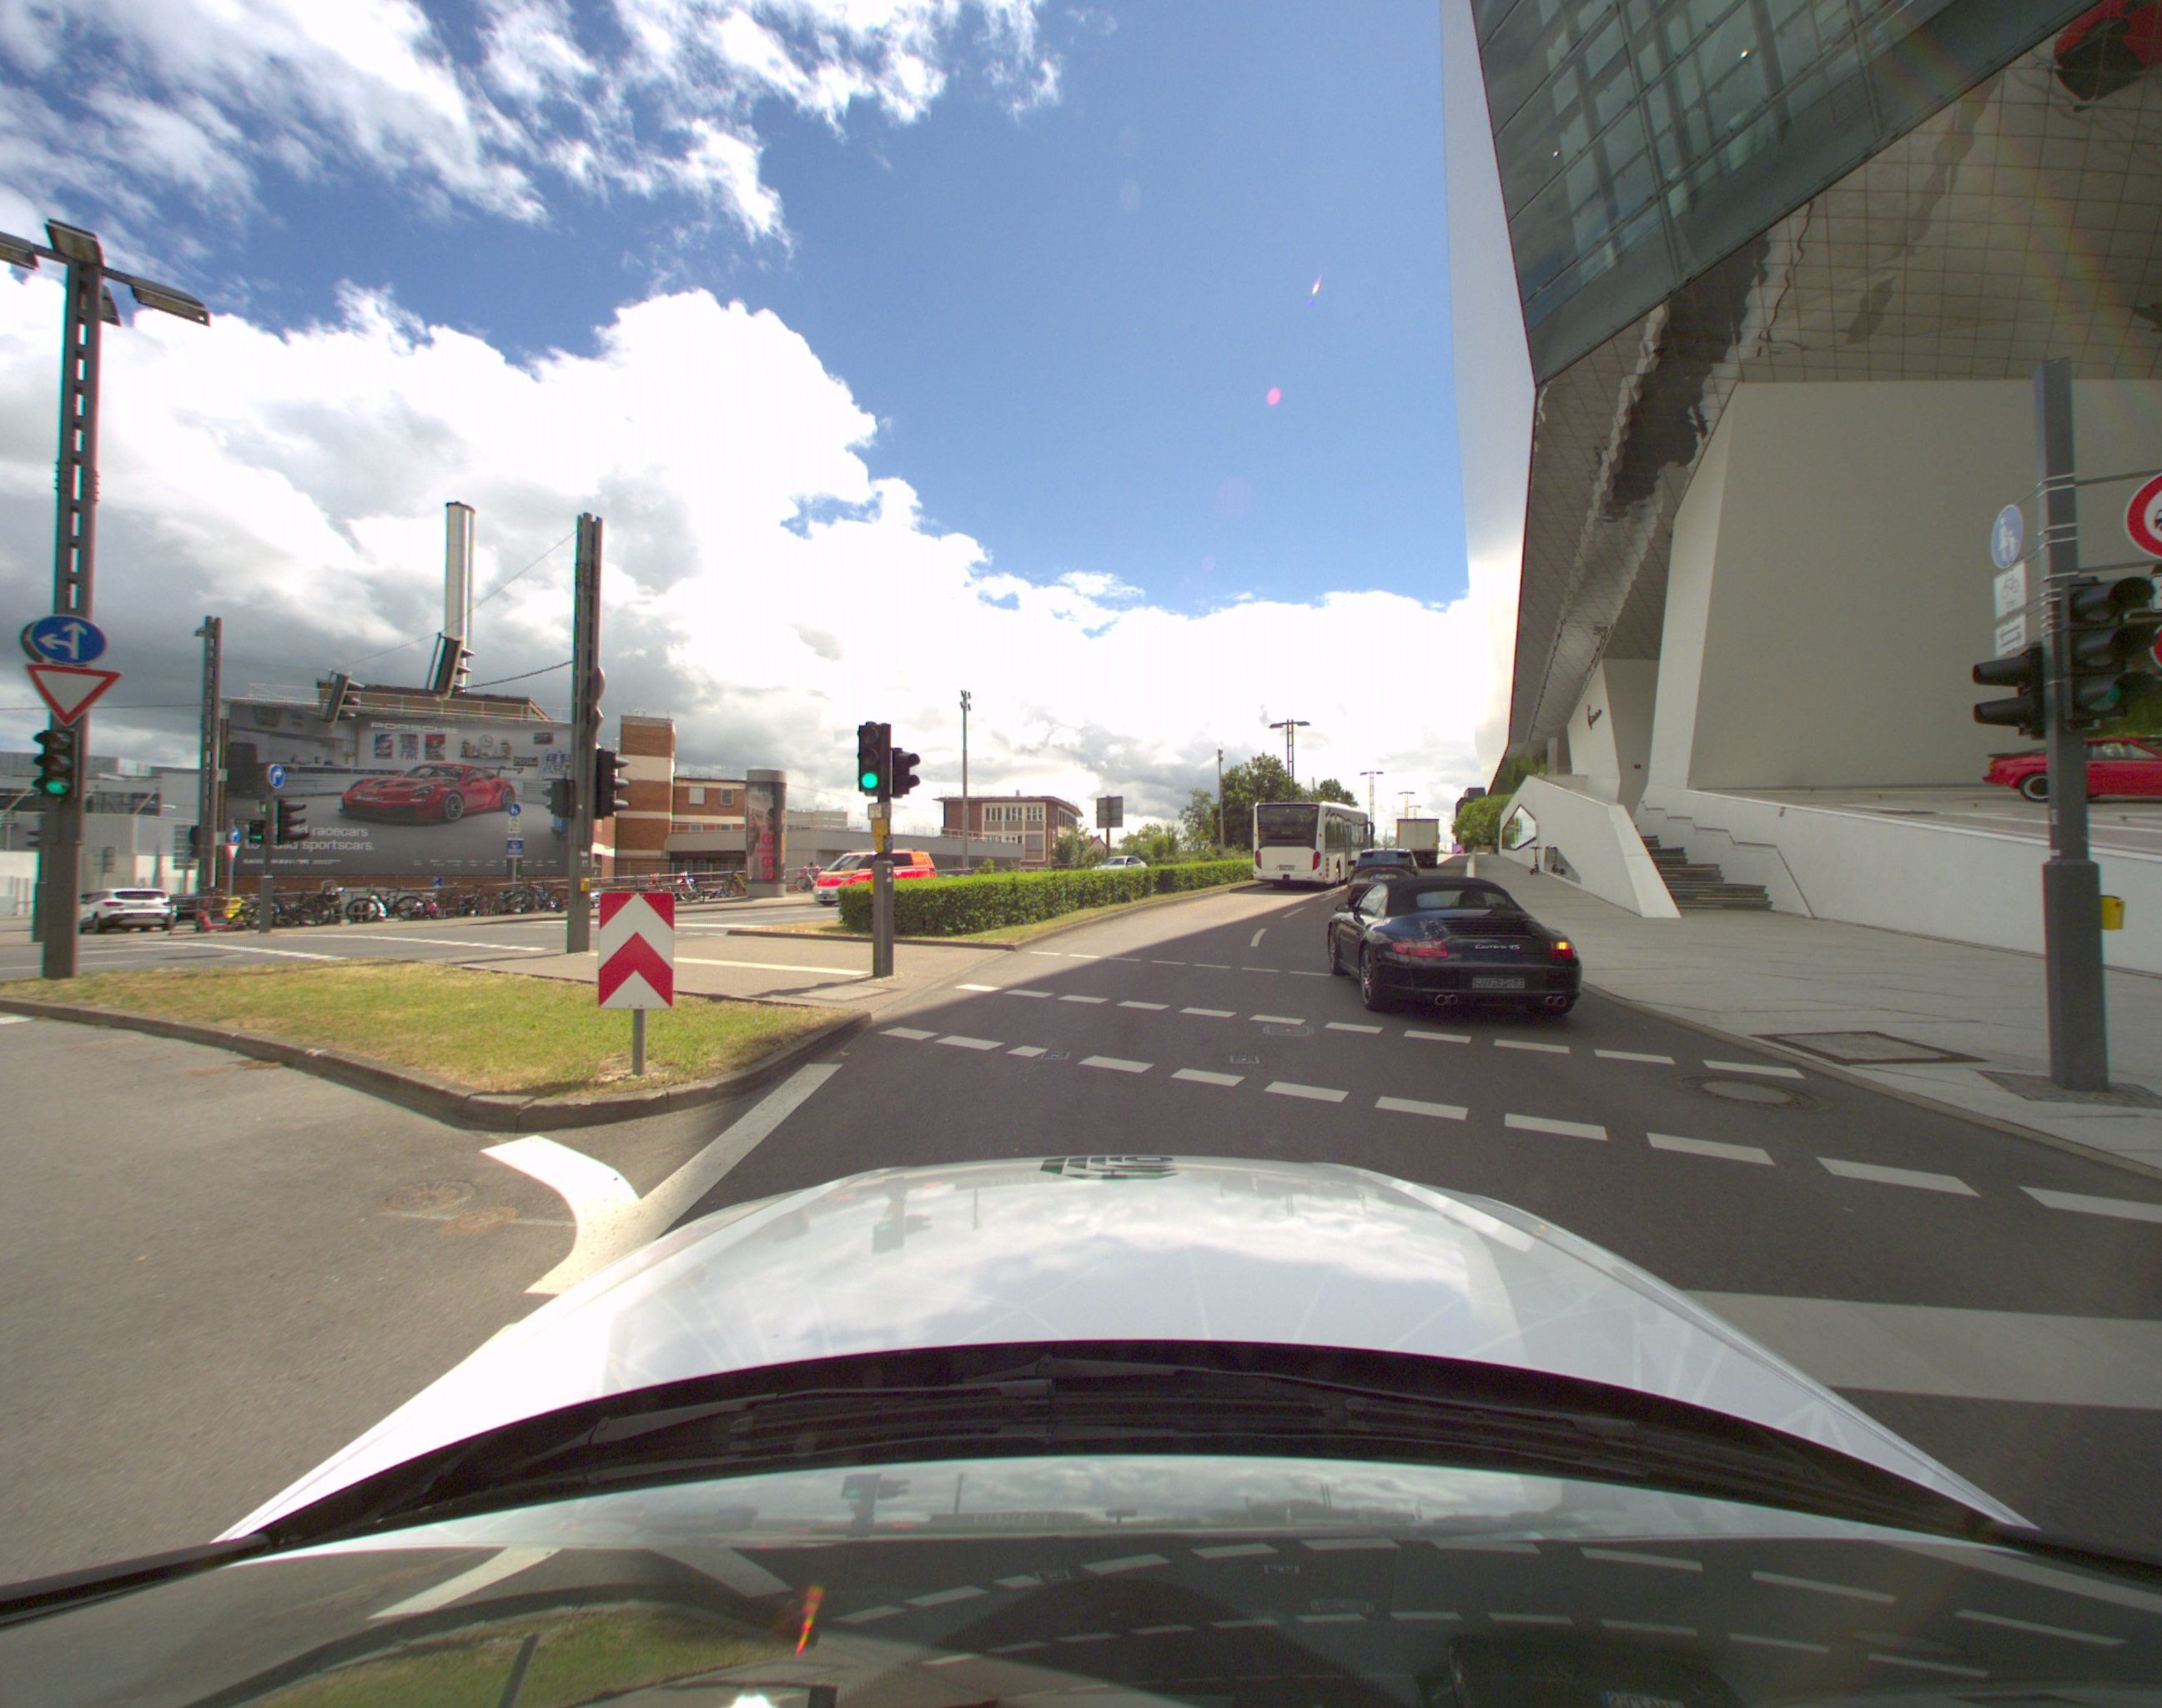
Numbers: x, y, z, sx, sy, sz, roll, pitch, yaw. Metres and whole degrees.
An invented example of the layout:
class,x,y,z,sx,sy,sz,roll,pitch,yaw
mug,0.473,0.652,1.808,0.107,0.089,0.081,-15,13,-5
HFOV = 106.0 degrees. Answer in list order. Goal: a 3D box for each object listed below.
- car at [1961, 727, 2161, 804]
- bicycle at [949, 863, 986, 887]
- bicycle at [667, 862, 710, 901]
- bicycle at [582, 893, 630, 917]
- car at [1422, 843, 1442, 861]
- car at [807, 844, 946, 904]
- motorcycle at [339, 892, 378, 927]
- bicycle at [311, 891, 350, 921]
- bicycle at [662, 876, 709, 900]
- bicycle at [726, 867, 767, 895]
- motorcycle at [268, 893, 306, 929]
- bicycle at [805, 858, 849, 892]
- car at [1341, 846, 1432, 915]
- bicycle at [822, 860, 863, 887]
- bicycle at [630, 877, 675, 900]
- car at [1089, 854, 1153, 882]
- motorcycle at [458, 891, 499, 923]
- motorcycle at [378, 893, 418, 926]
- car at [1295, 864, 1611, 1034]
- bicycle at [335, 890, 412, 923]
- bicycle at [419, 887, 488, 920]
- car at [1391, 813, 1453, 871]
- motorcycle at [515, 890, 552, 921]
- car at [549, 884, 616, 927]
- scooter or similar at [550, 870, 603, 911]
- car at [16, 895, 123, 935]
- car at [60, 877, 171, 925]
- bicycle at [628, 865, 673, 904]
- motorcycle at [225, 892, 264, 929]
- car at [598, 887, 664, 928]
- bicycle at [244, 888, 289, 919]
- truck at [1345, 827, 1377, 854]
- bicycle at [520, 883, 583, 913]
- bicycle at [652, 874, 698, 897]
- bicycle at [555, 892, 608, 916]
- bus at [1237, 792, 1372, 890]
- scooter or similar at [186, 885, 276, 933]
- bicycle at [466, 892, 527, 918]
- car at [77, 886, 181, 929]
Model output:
class,x,y,z,sx,sy,sz,roll,pitch,yaw
car,20.518,-1.702,15.624,1.998,1.394,4.489,-3,6,-16
bicycle,-5.519,1.004,39.611,0.448,1.071,2.310,1,1,30
bicycle,-14.370,1.005,29.820,1.591,1.383,0.495,1,-2,26
bicycle,-17.824,1.911,30.606,0.487,0.866,1.618,1,-2,18
car,41.023,-0.185,95.239,1.977,1.904,4.020,1,-2,21
car,-7.322,0.692,29.638,1.974,1.983,4.867,-1,-1,33
motorcycle,-28.527,2.173,32.136,0.925,1.196,2.877,4,-3,-45
bicycle,-23.468,1.607,25.478,0.494,0.866,1.596,3,-2,-29
bicycle,-15.817,1.348,32.624,0.486,0.866,1.621,-2,0,39
bicycle,-13.141,1.050,32.001,1.591,1.056,0.495,1,-2,26
motorcycle,-30.104,2.144,30.854,0.925,1.196,2.877,4,-3,-45
bicycle,-10.856,0.895,34.783,1.721,1.381,0.673,1,-2,26
car,8.301,0.616,21.915,1.975,1.636,4.023,1,1,25
bicycle,-10.688,0.859,36.529,1.721,1.182,0.674,1,-1,25
bicycle,-17.423,1.386,33.134,0.486,0.866,1.620,-1,0,25
car,2.301,0.719,45.739,1.738,1.397,4.702,1,1,28
motorcycle,-25.410,2.228,34.335,0.925,1.196,2.877,4,-3,-45
motorcycle,-27.654,2.224,32.950,0.925,1.196,2.877,4,-3,-45
car,3.648,0.822,8.857,1.826,1.325,4.004,0,1,3
bicycle,-20.507,1.519,23.637,1.612,0.866,0.489,0,-1,-23
bicycle,-18.911,1.486,24.586,1.618,0.866,0.487,-2,1,-36
car,23.688,-0.699,56.296,3.305,3.504,9.394,1,-2,26
motorcycle,-23.876,2.225,35.494,0.925,1.196,2.878,4,-2,-41
car,-22.979,2.349,37.524,3.439,1.785,1.639,0,-3,42
scooter or similar,-16.228,1.153,26.206,0.488,1.231,1.398,1,1,26
car,-47.568,2.847,38.426,2.008,1.637,3.957,3,-2,-34
car,-42.233,2.016,35.762,2.220,1.858,4.465,3,-2,-39
bicycle,-15.112,1.063,28.596,1.591,1.317,0.495,1,-2,26
motorcycle,-31.228,2.086,30.432,0.925,1.196,2.877,4,-3,-45
car,-21.814,2.554,39.417,3.439,1.804,1.714,0,-3,43
bicycle,-24.744,1.503,24.770,0.494,0.866,1.596,3,-2,-29
truck,36.155,-1.712,104.972,2.175,2.961,9.005,1,-2,29
bicycle,-17.157,1.399,26.402,0.486,0.866,1.621,-2,0,37
bicycle,-16.459,1.274,33.048,0.486,0.866,1.621,-2,-2,37
bicycle,-18.788,1.881,30.676,0.486,0.866,1.620,1,-2,29
bus,9.754,-0.607,34.072,3.043,3.361,12.297,1,2,27
scooter or similar,-23.480,1.500,22.521,1.632,1.181,0.499,-3,0,-19
bicycle,-20.169,1.759,28.146,1.615,0.866,0.488,3,-2,-29
car,-34.135,1.887,29.198,3.312,1.351,1.796,1,-2,31
